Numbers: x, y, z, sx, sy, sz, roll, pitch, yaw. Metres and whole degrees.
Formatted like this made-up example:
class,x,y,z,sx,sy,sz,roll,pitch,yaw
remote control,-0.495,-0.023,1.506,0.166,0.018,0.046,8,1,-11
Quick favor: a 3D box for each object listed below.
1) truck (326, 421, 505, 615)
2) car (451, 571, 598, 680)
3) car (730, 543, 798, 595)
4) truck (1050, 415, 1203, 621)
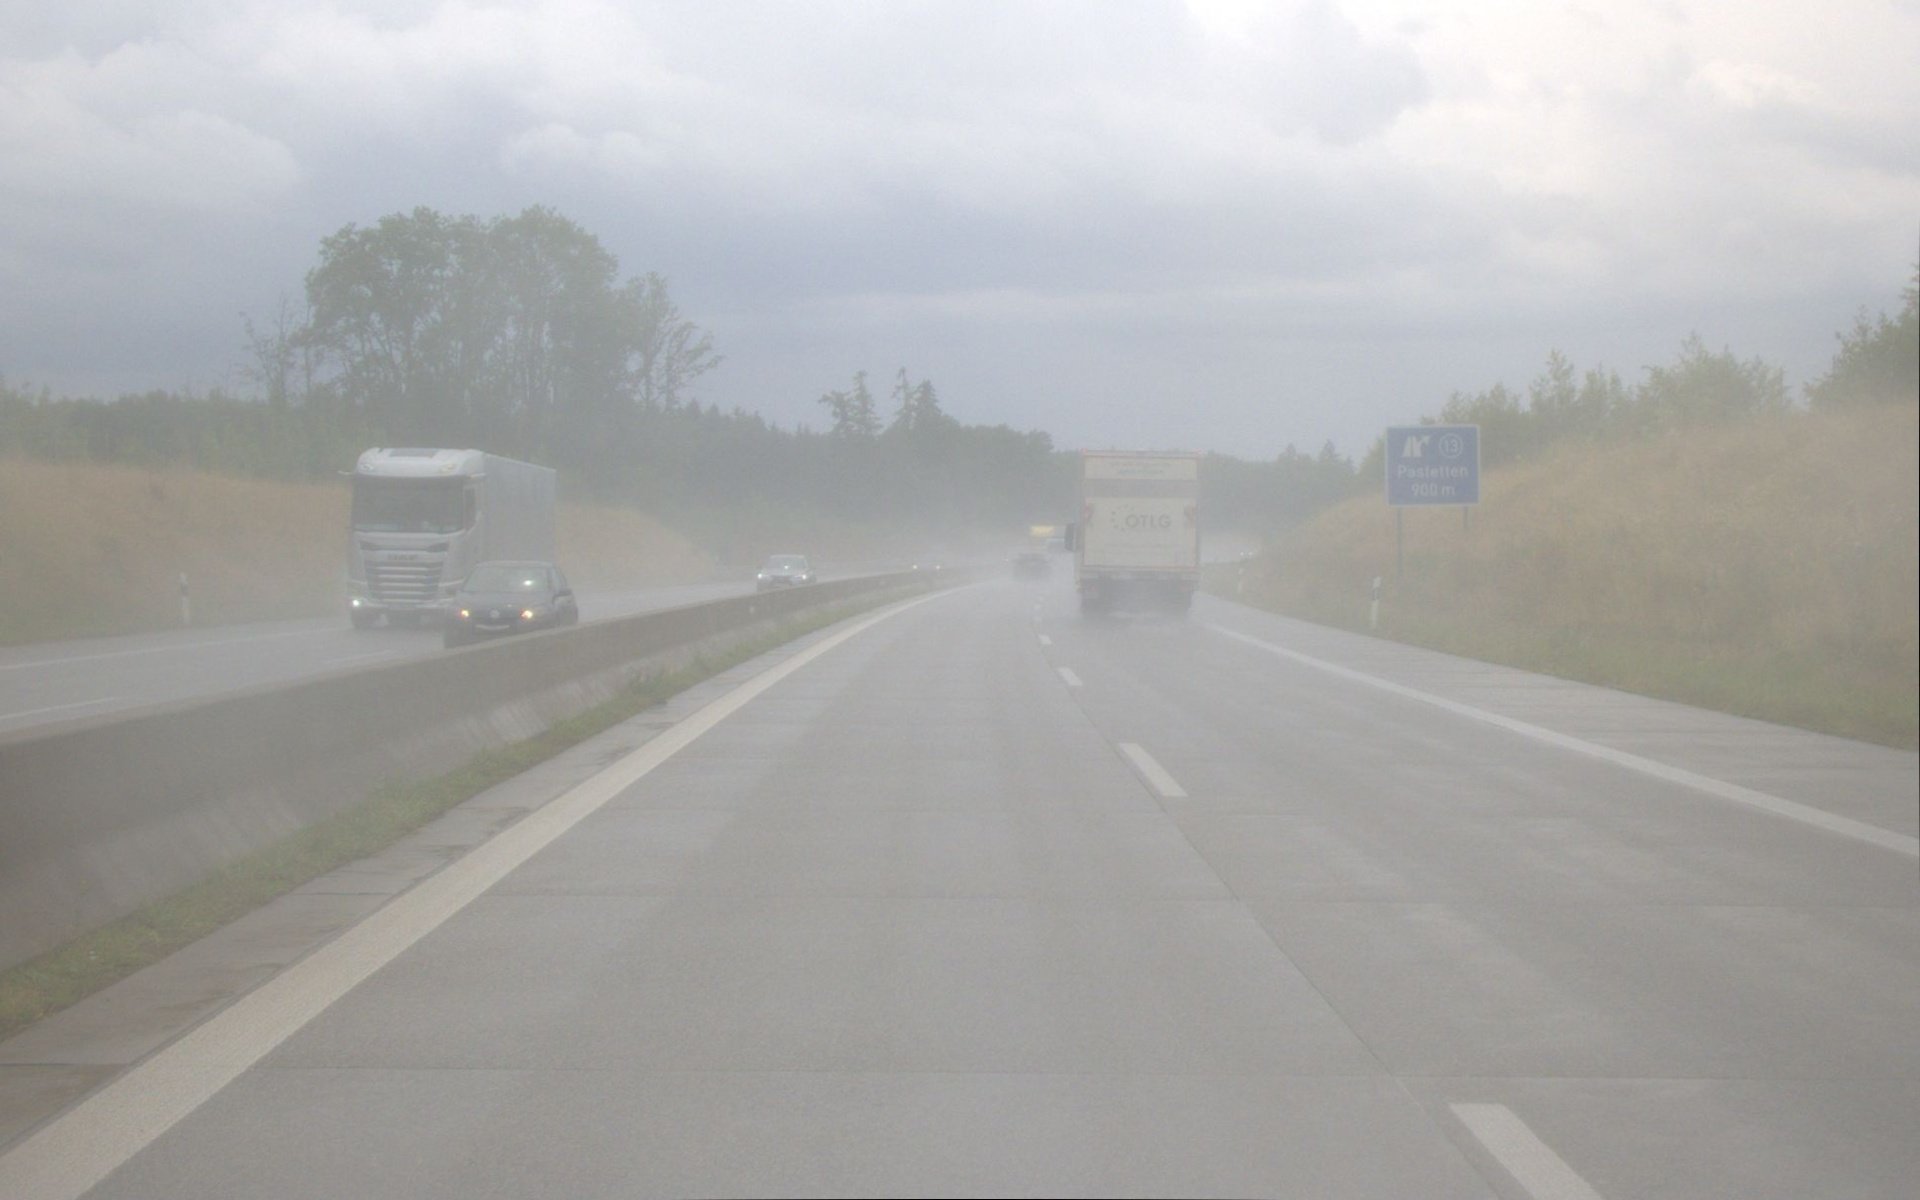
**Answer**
class,x,y,z,sx,sy,sz,roll,pitch,yaw
truck,-11.216,-1.687,71.245,2.885,3.856,5.195,0,1,0
car,-6.524,0.359,51.852,1.660,1.481,4.000,-2,1,0
car,-6.693,-1.080,117.785,1.993,1.513,4.189,-2,3,1
truck,3.686,-1.896,78.014,3.243,4.421,8.246,0,2,1
